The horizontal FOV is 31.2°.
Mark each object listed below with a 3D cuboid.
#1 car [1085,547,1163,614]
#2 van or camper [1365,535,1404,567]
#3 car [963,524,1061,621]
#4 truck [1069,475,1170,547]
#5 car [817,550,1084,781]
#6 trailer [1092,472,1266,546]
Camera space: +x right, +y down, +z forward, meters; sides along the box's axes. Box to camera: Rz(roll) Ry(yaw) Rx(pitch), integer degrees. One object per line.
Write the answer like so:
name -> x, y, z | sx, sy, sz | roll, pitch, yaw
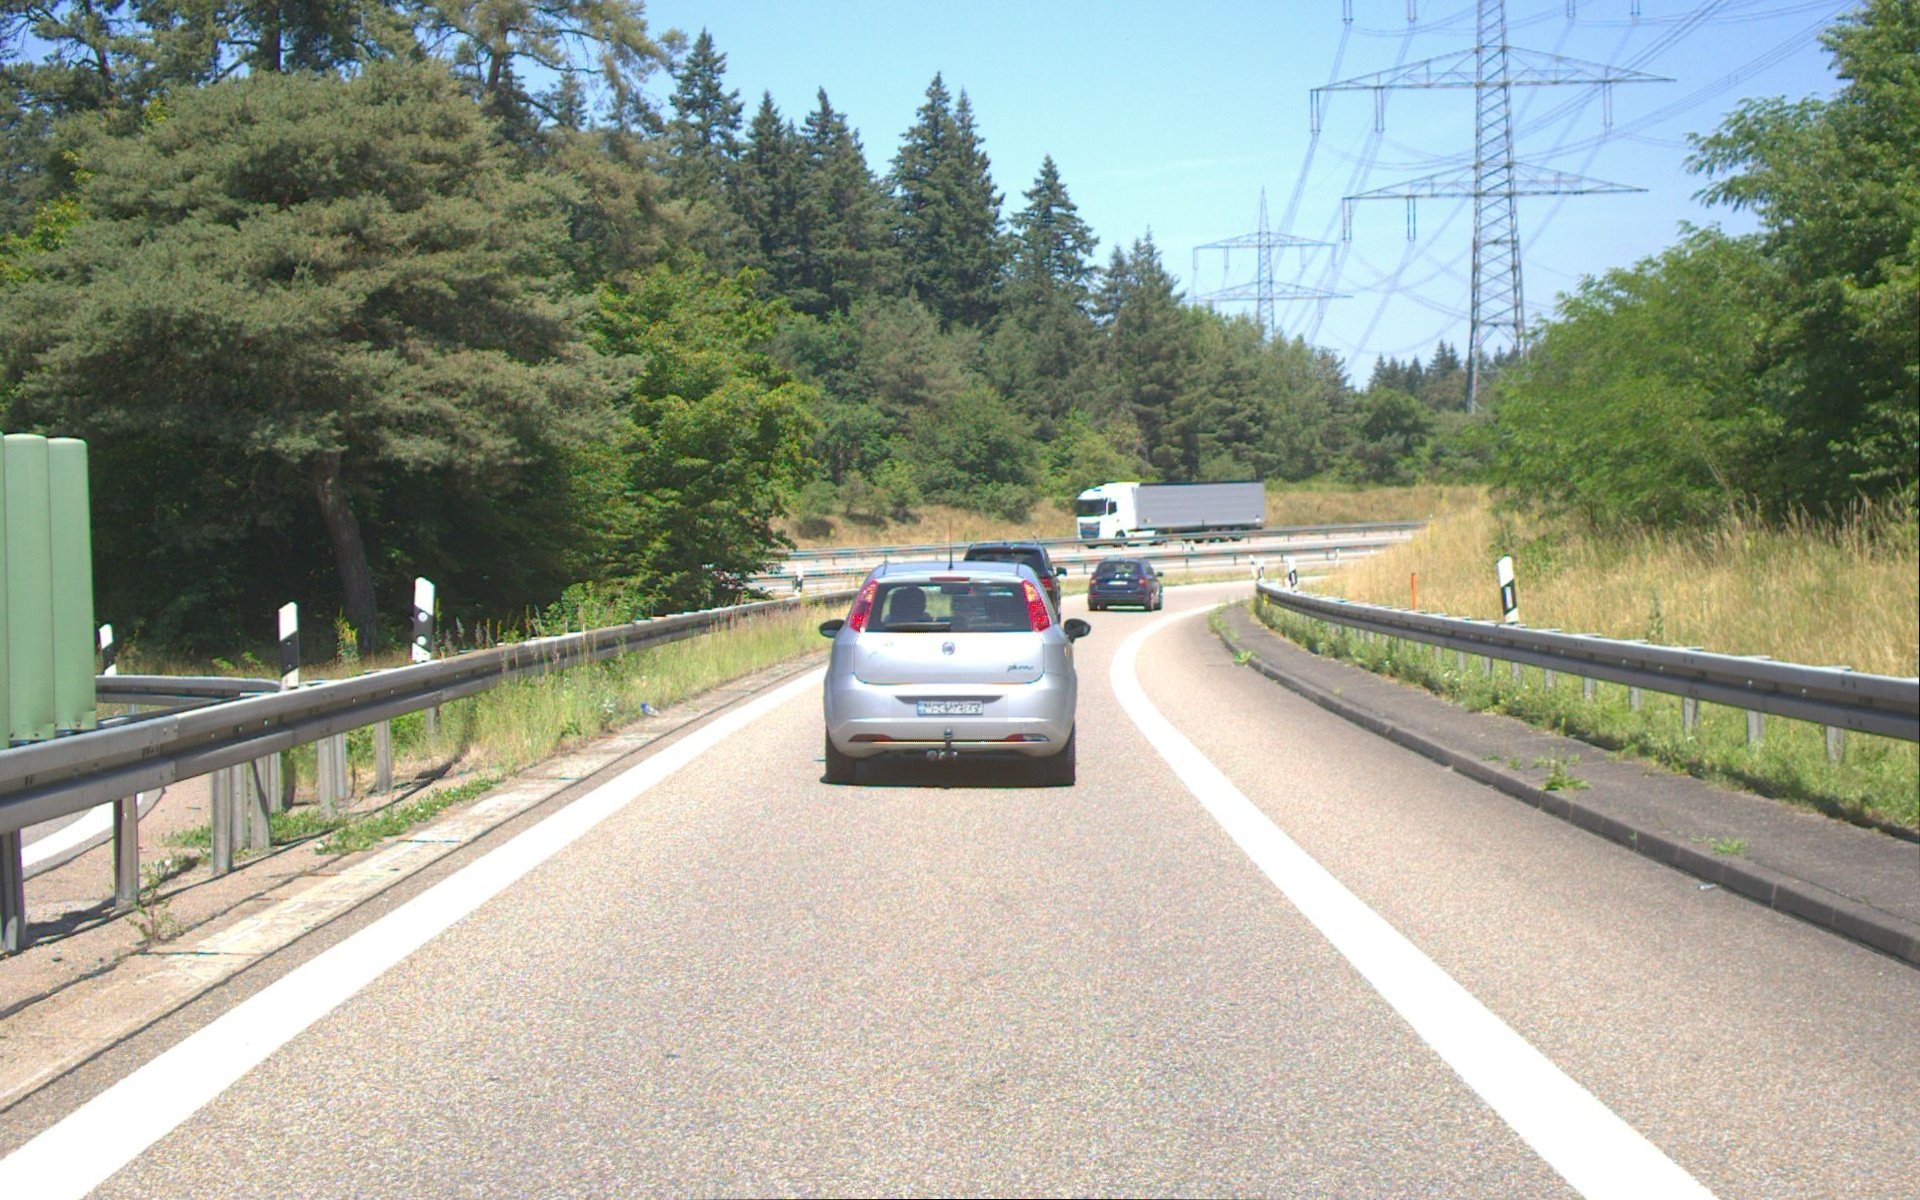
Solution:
car -> 4.542, -0.561, 94.795 | 1.882, 1.678, 3.999 | -3, 1, 5
van or camper -> 20.678, -2.380, 167.351 | 1.807, 1.481, 3.999 | 0, 2, 8
car -> 0.912, -0.519, 61.548 | 1.706, 1.670, 3.398 | 0, 2, 0
truck -> 10.127, -5.668, 218.080 | 2.946, 4.377, 6.256 | -1, 1, 42
car -> -0.129, 0.428, 23.639 | 1.706, 1.477, 3.398 | 0, 0, -2
trailer -> 14.324, -5.951, 222.790 | 2.931, 4.372, 14.263 | -1, 1, 42
